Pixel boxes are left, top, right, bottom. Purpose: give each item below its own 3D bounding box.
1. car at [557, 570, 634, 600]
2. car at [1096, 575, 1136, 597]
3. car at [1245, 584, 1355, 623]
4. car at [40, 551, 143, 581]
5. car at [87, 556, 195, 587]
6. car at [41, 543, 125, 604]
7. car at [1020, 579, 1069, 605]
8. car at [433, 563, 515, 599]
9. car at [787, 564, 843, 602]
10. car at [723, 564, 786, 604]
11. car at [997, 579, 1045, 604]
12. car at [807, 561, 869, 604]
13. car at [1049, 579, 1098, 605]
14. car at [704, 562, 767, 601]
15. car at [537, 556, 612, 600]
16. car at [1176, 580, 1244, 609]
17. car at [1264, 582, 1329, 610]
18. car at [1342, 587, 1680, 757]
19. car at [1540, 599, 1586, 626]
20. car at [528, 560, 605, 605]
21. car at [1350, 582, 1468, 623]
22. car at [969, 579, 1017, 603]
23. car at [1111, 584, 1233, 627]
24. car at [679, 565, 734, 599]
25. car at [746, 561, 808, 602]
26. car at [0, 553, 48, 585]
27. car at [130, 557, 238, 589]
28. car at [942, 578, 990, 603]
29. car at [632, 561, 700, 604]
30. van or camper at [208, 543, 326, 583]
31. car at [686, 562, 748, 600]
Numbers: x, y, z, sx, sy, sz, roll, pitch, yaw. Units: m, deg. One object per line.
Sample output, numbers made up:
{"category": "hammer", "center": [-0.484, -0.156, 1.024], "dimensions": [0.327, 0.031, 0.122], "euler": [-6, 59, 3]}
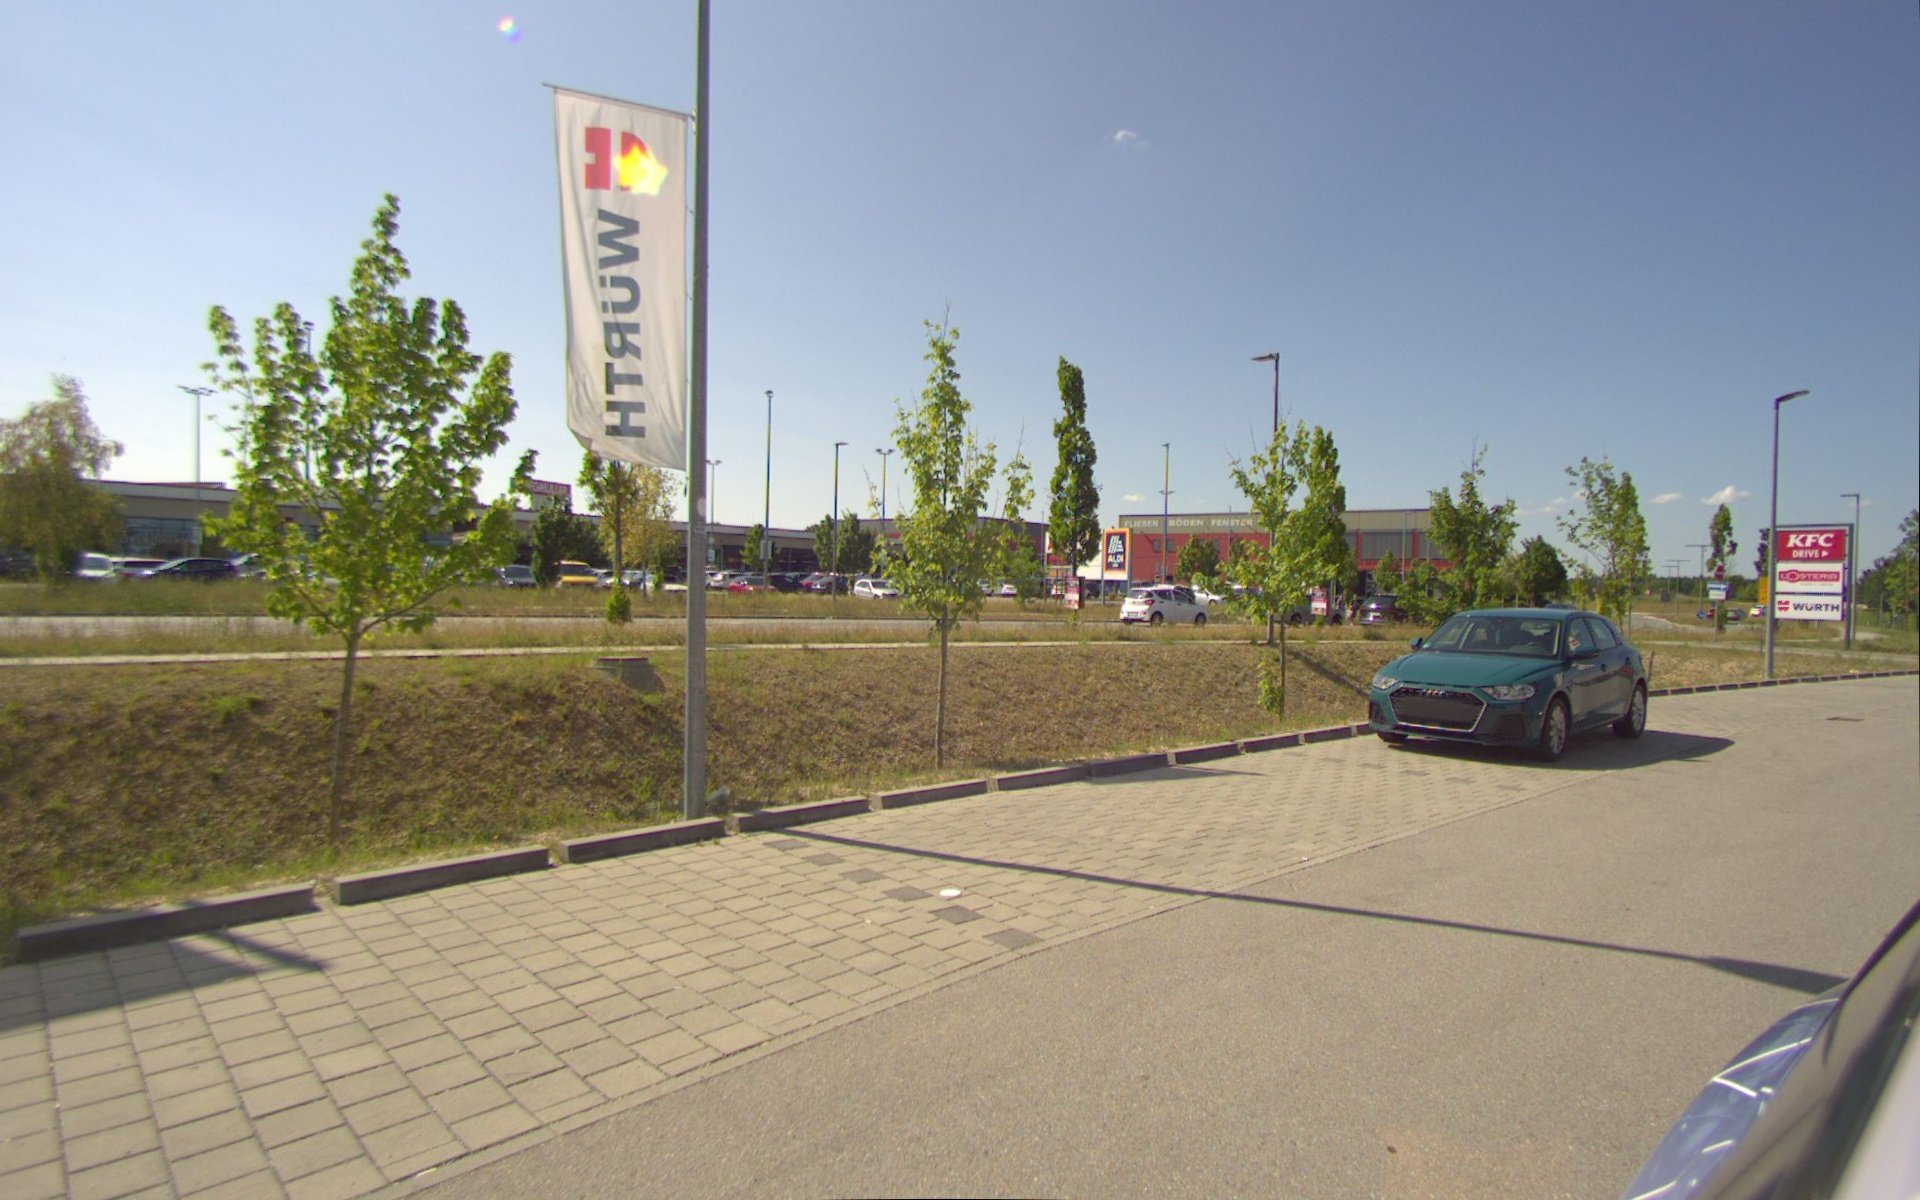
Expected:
{"category": "car", "center": [-24.040, -0.962, 66.853], "dimensions": [1.988, 1.886, 4.425], "euler": [1, 0, 36]}
{"category": "car", "center": [15.251, -1.341, 98.903], "dimensions": [1.988, 2.063, 4.425], "euler": [1, 0, 36]}
{"category": "car", "center": [14.597, 0.156, 43.412], "dimensions": [4.667, 1.571, 1.948], "euler": [1, 0, -32]}
{"category": "car", "center": [-44.205, -1.718, 51.594], "dimensions": [1.720, 1.408, 3.688], "euler": [2, 1, 33]}
{"category": "car", "center": [-39.182, -1.345, 48.472], "dimensions": [1.720, 1.408, 3.688], "euler": [2, 1, 33]}
{"category": "car", "center": [-31.795, -0.969, 36.827], "dimensions": [2.126, 2.039, 5.111], "euler": [0, 1, -39]}
{"category": "car", "center": [7.020, -0.666, 83.433], "dimensions": [1.988, 2.063, 4.425], "euler": [1, 0, 36]}
{"category": "car", "center": [-31.192, -1.175, 65.100], "dimensions": [1.984, 2.219, 4.436], "euler": [1, 0, 30]}
{"category": "car", "center": [-11.358, -1.314, 79.584], "dimensions": [1.984, 2.857, 4.436], "euler": [1, 0, 30]}
{"category": "car", "center": [-11.061, -0.863, 54.270], "dimensions": [1.847, 2.039, 4.140], "euler": [1, 1, -34]}
{"category": "car", "center": [5.164, -0.713, 85.431], "dimensions": [1.988, 2.063, 4.425], "euler": [1, 0, 36]}
{"category": "car", "center": [-8.385, -1.185, 70.138], "dimensions": [1.984, 2.857, 4.436], "euler": [1, 0, 30]}
{"category": "car", "center": [9.195, -0.617, 81.652], "dimensions": [1.988, 2.063, 4.425], "euler": [1, 0, 36]}
{"category": "car", "center": [-16.903, -1.372, 76.445], "dimensions": [1.988, 2.857, 4.425], "euler": [1, 0, 36]}
{"category": "car", "center": [-26.130, -1.447, 68.736], "dimensions": [1.984, 2.857, 4.436], "euler": [1, 0, 30]}
{"category": "car", "center": [18.004, -0.405, 73.075], "dimensions": [1.965, 2.063, 4.477], "euler": [1, 0, -41]}
{"category": "car", "center": [26.331, -0.331, 79.328], "dimensions": [1.965, 2.063, 4.477], "euler": [1, 0, -41]}
{"category": "car", "center": [6.106, 0.655, 11.019], "dimensions": [4.152, 1.468, 1.844], "euler": [1, 1, -40]}
{"category": "car", "center": [37.712, 0.768, 63.259], "dimensions": [1.821, 1.561, 3.941], "euler": [2, 0, 40]}
{"category": "car", "center": [-18.851, -0.870, 48.337], "dimensions": [2.124, 2.039, 5.115], "euler": [1, 1, -36]}
{"category": "car", "center": [18.310, 0.097, 41.206], "dimensions": [4.664, 1.571, 1.949], "euler": [1, 0, -29]}
{"category": "car", "center": [2.861, -0.759, 86.700], "dimensions": [1.988, 2.063, 4.425], "euler": [1, 0, 36]}
{"category": "car", "center": [8.236, 0.204, 39.144], "dimensions": [4.670, 1.571, 1.947], "euler": [1, 0, -35]}
{"category": "car", "center": [-22.103, -1.559, 88.481], "dimensions": [1.988, 2.857, 4.425], "euler": [1, 0, 36]}
{"category": "car", "center": [-13.111, -1.282, 72.902], "dimensions": [1.984, 2.857, 4.436], "euler": [1, 0, 30]}
{"category": "car", "center": [-53.103, -1.763, 56.895], "dimensions": [3.976, 1.728, 1.974], "euler": [2, 1, 36]}
{"category": "car", "center": [-36.507, -1.257, 47.682], "dimensions": [1.720, 1.408, 3.688], "euler": [2, 1, 33]}
{"category": "car", "center": [0.534, -0.809, 88.218], "dimensions": [1.988, 2.063, 4.425], "euler": [1, 0, 36]}
{"category": "car", "center": [-14.983, -0.904, 51.477], "dimensions": [1.908, 2.039, 4.409], "euler": [1, 1, -36]}
{"category": "van or camper", "center": [-38.099, -2.011, 55.724], "dimensions": [1.990, 2.039, 4.981], "euler": [2, 1, 38]}
{"category": "car", "center": [-18.885, -1.423, 78.679], "dimensions": [1.988, 2.857, 4.425], "euler": [1, 0, 36]}
